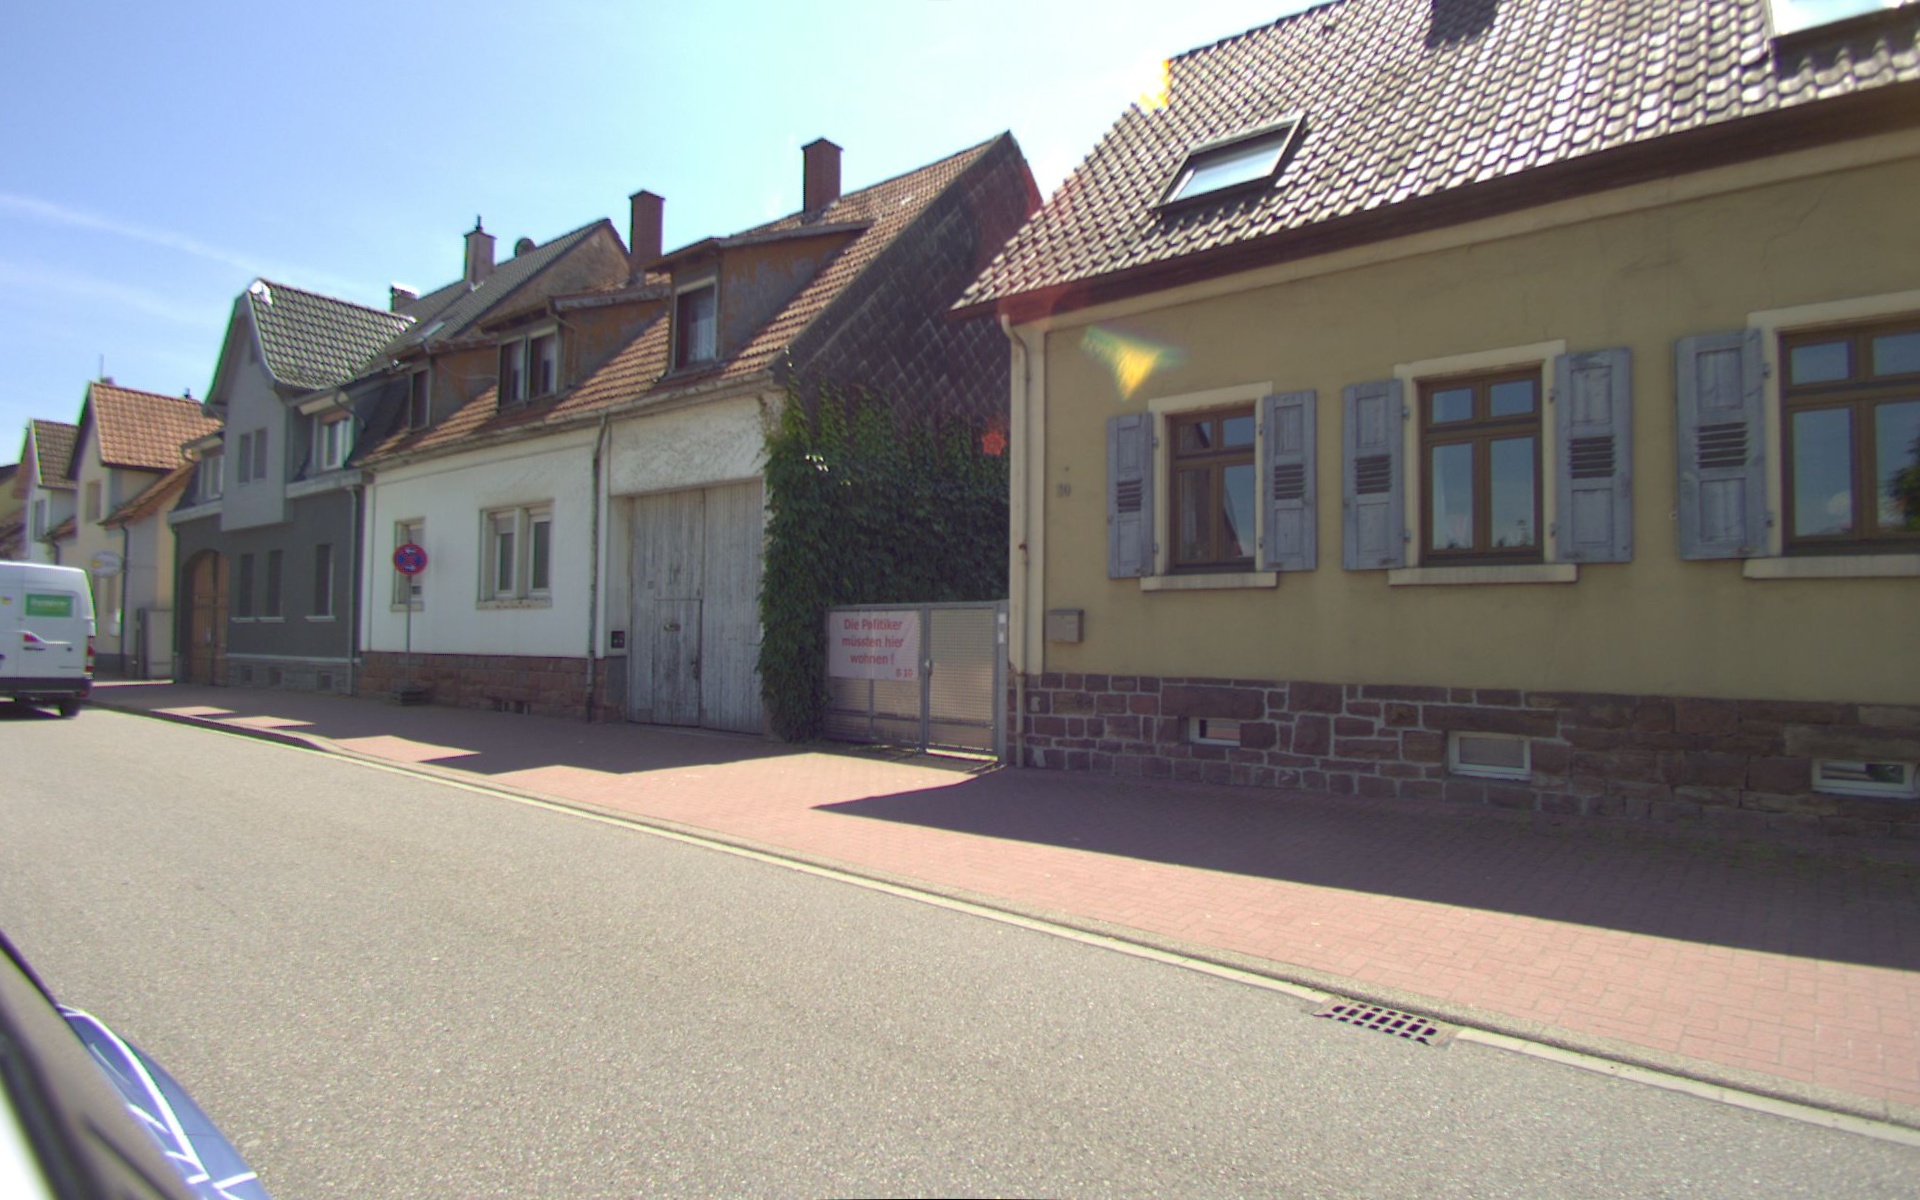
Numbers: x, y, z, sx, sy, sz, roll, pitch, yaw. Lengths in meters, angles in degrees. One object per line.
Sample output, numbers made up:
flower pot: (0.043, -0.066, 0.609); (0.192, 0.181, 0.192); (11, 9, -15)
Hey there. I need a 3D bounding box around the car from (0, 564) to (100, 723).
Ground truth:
car: (-17.285, 0.746, 17.829); (6.061, 2.480, 2.009); (-1, -5, 39)
